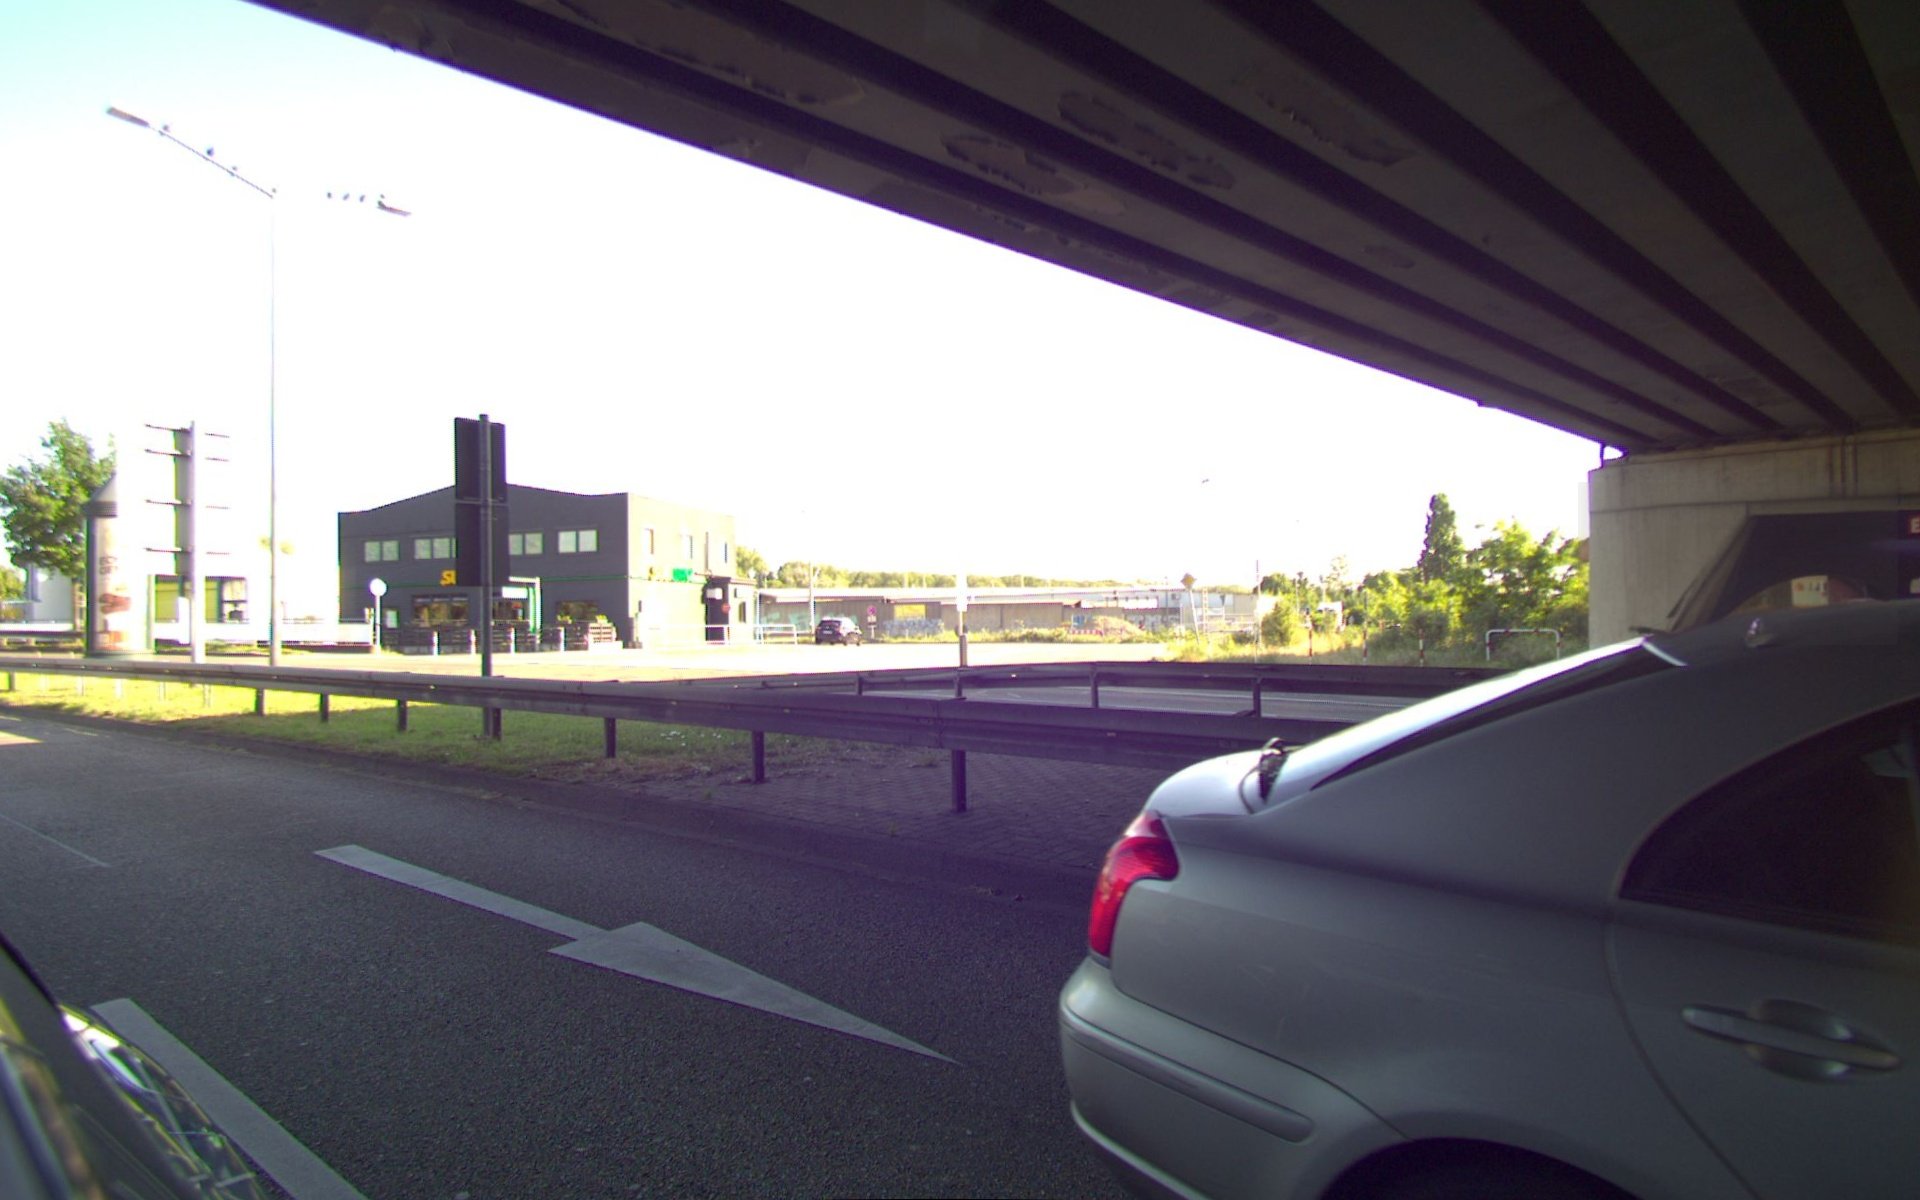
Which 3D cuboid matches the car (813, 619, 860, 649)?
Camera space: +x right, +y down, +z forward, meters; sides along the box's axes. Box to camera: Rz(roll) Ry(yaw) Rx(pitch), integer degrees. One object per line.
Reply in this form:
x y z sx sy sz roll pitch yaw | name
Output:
-6.644 1.807 54.994 1.858 1.453 3.996 -1 0 3 | car

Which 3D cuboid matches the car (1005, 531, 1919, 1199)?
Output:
2.332 0.629 1.258 4.392 1.466 1.680 -2 -1 38 | car
